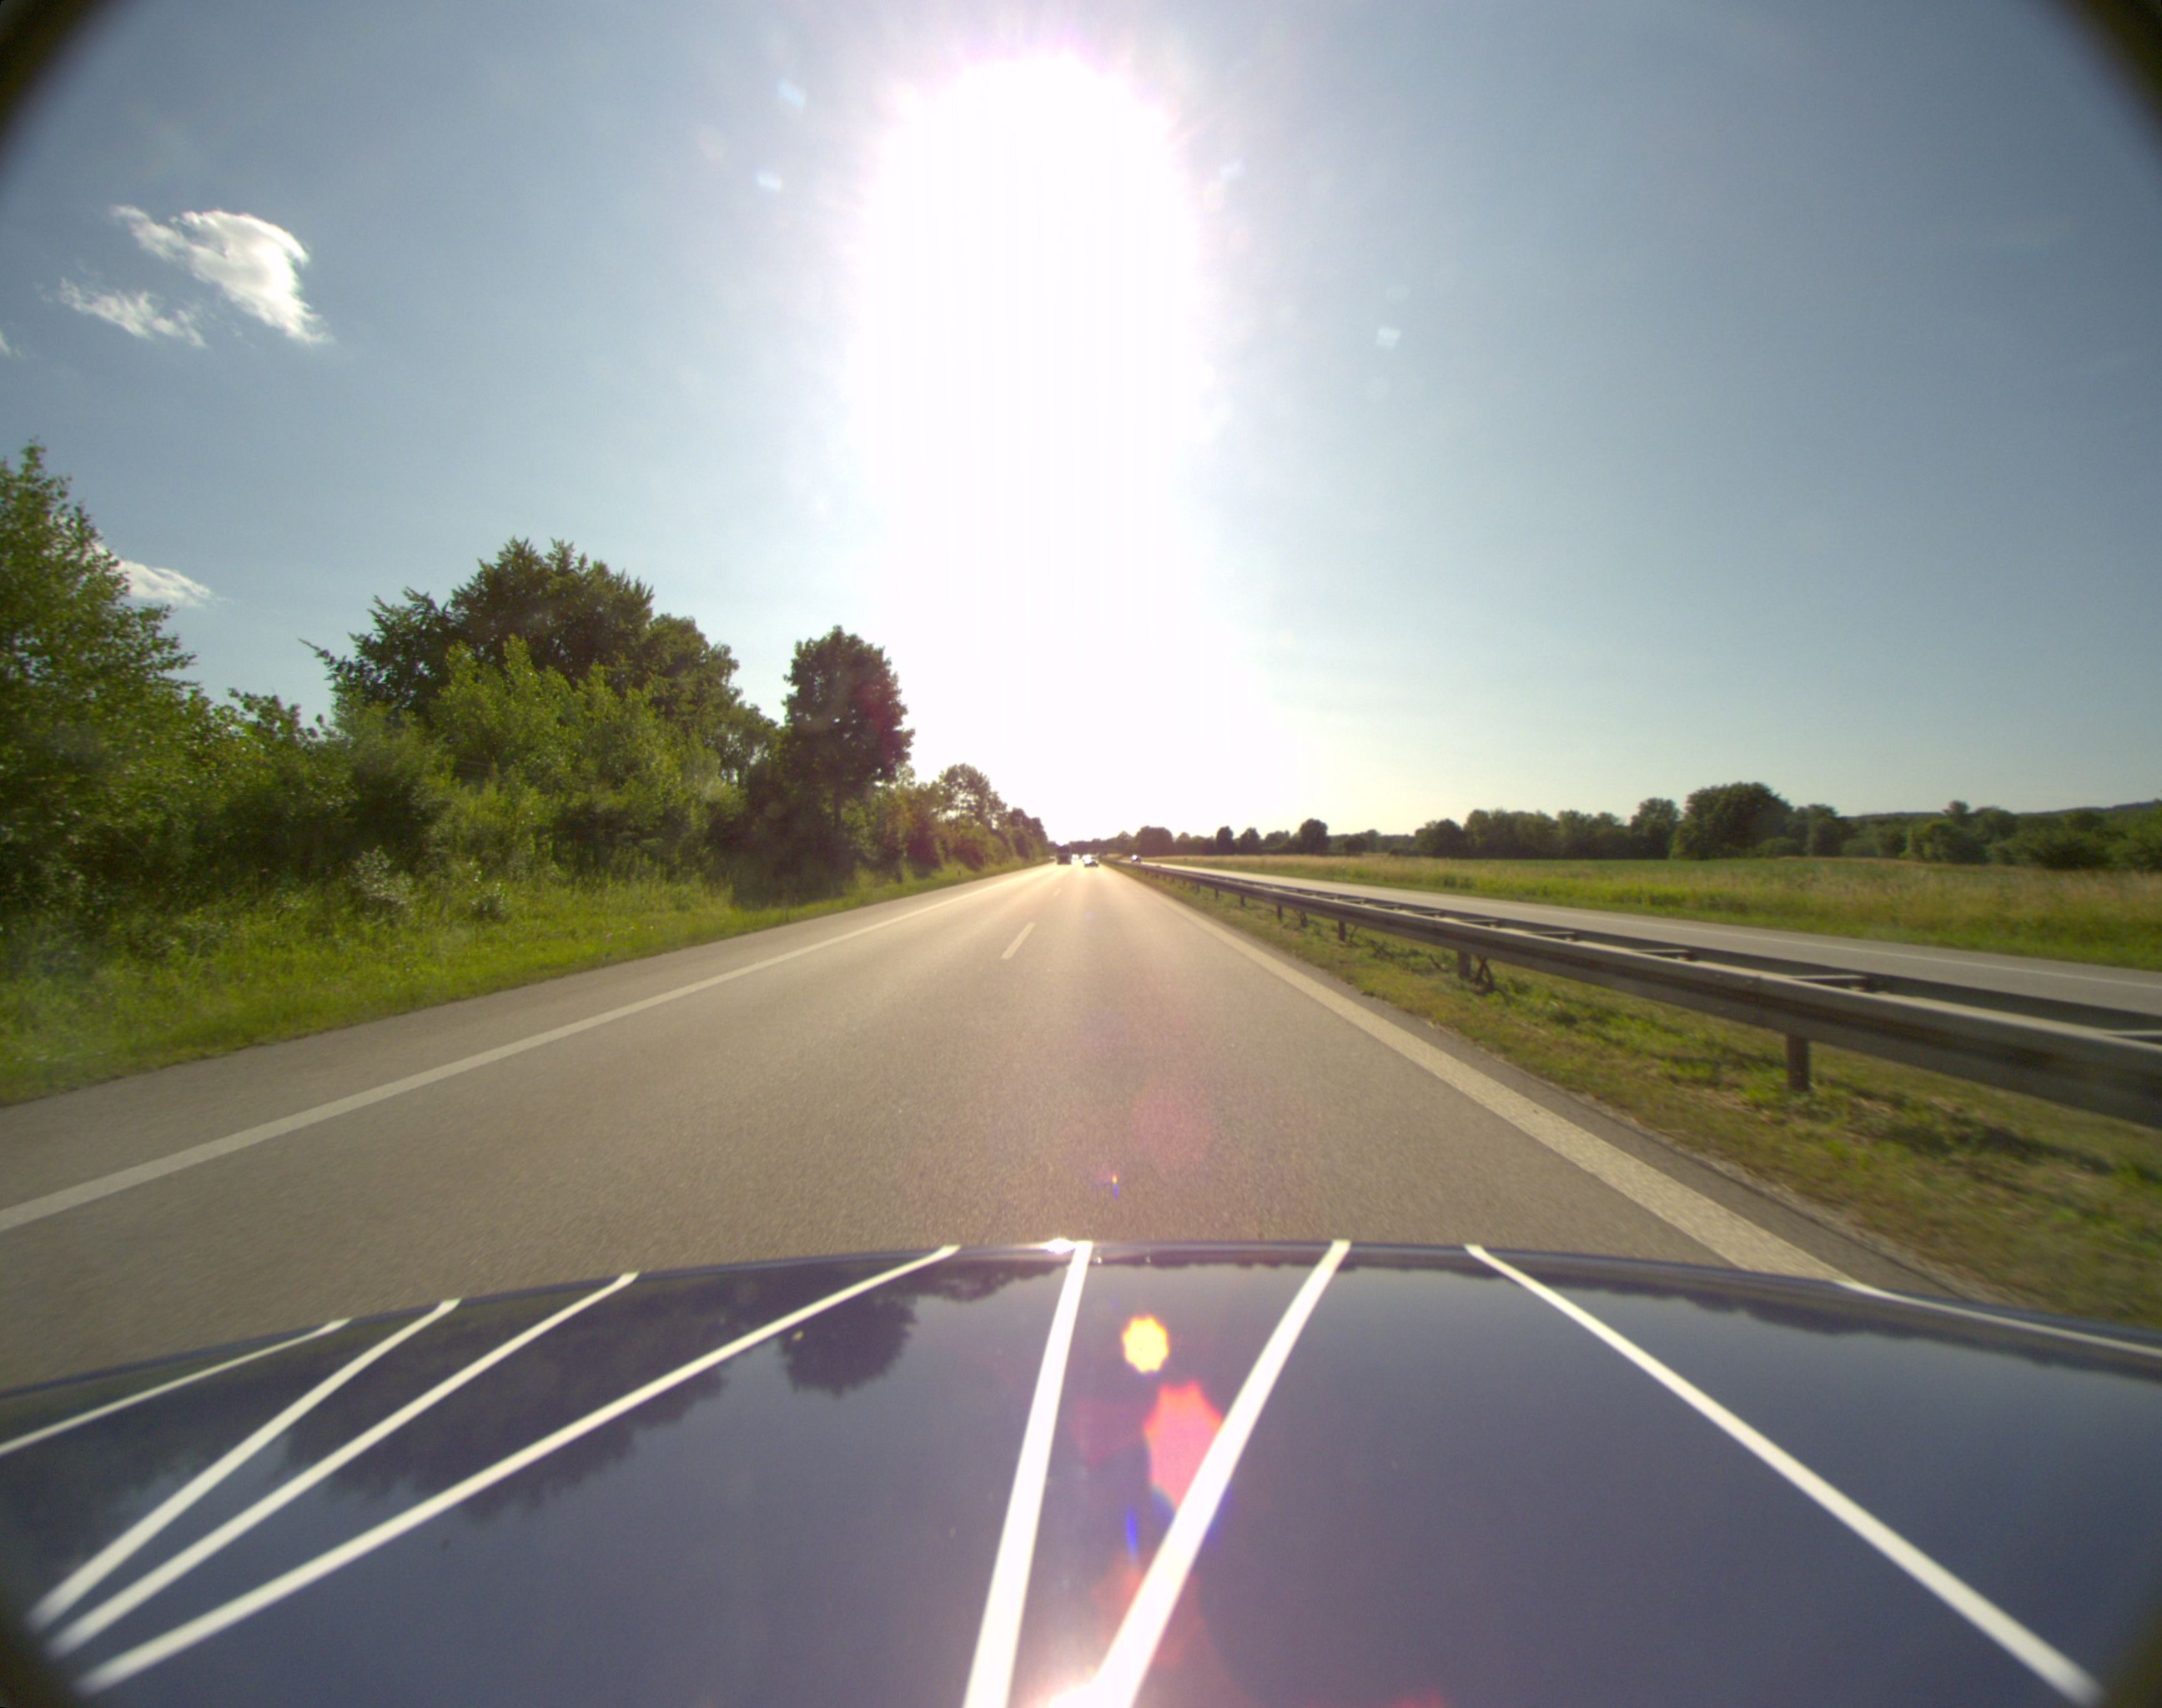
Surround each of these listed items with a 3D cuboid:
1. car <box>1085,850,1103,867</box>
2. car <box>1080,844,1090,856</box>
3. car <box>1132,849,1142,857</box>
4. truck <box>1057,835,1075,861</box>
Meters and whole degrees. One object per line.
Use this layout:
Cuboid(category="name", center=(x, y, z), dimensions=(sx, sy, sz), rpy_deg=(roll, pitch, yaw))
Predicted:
Cuboid(category="car", center=(1.589, 0.525, 91.765), dimensions=(1.998, 2.002, 4.358), rpy_deg=(-2, 1, 1))
Cuboid(category="car", center=(0.995, -0.953, 177.155), dimensions=(2.193, 2.502, 5.351), rpy_deg=(-2, 1, 0))
Cuboid(category="car", center=(11.594, -0.203, 157.435), dimensions=(1.774, 1.476, 4.913), rpy_deg=(0, 0, 1))
Cuboid(category="truck", center=(-2.646, -1.078, 134.455), dimensions=(2.759, 4.242, 8.492), rpy_deg=(-2, 1, 0))
